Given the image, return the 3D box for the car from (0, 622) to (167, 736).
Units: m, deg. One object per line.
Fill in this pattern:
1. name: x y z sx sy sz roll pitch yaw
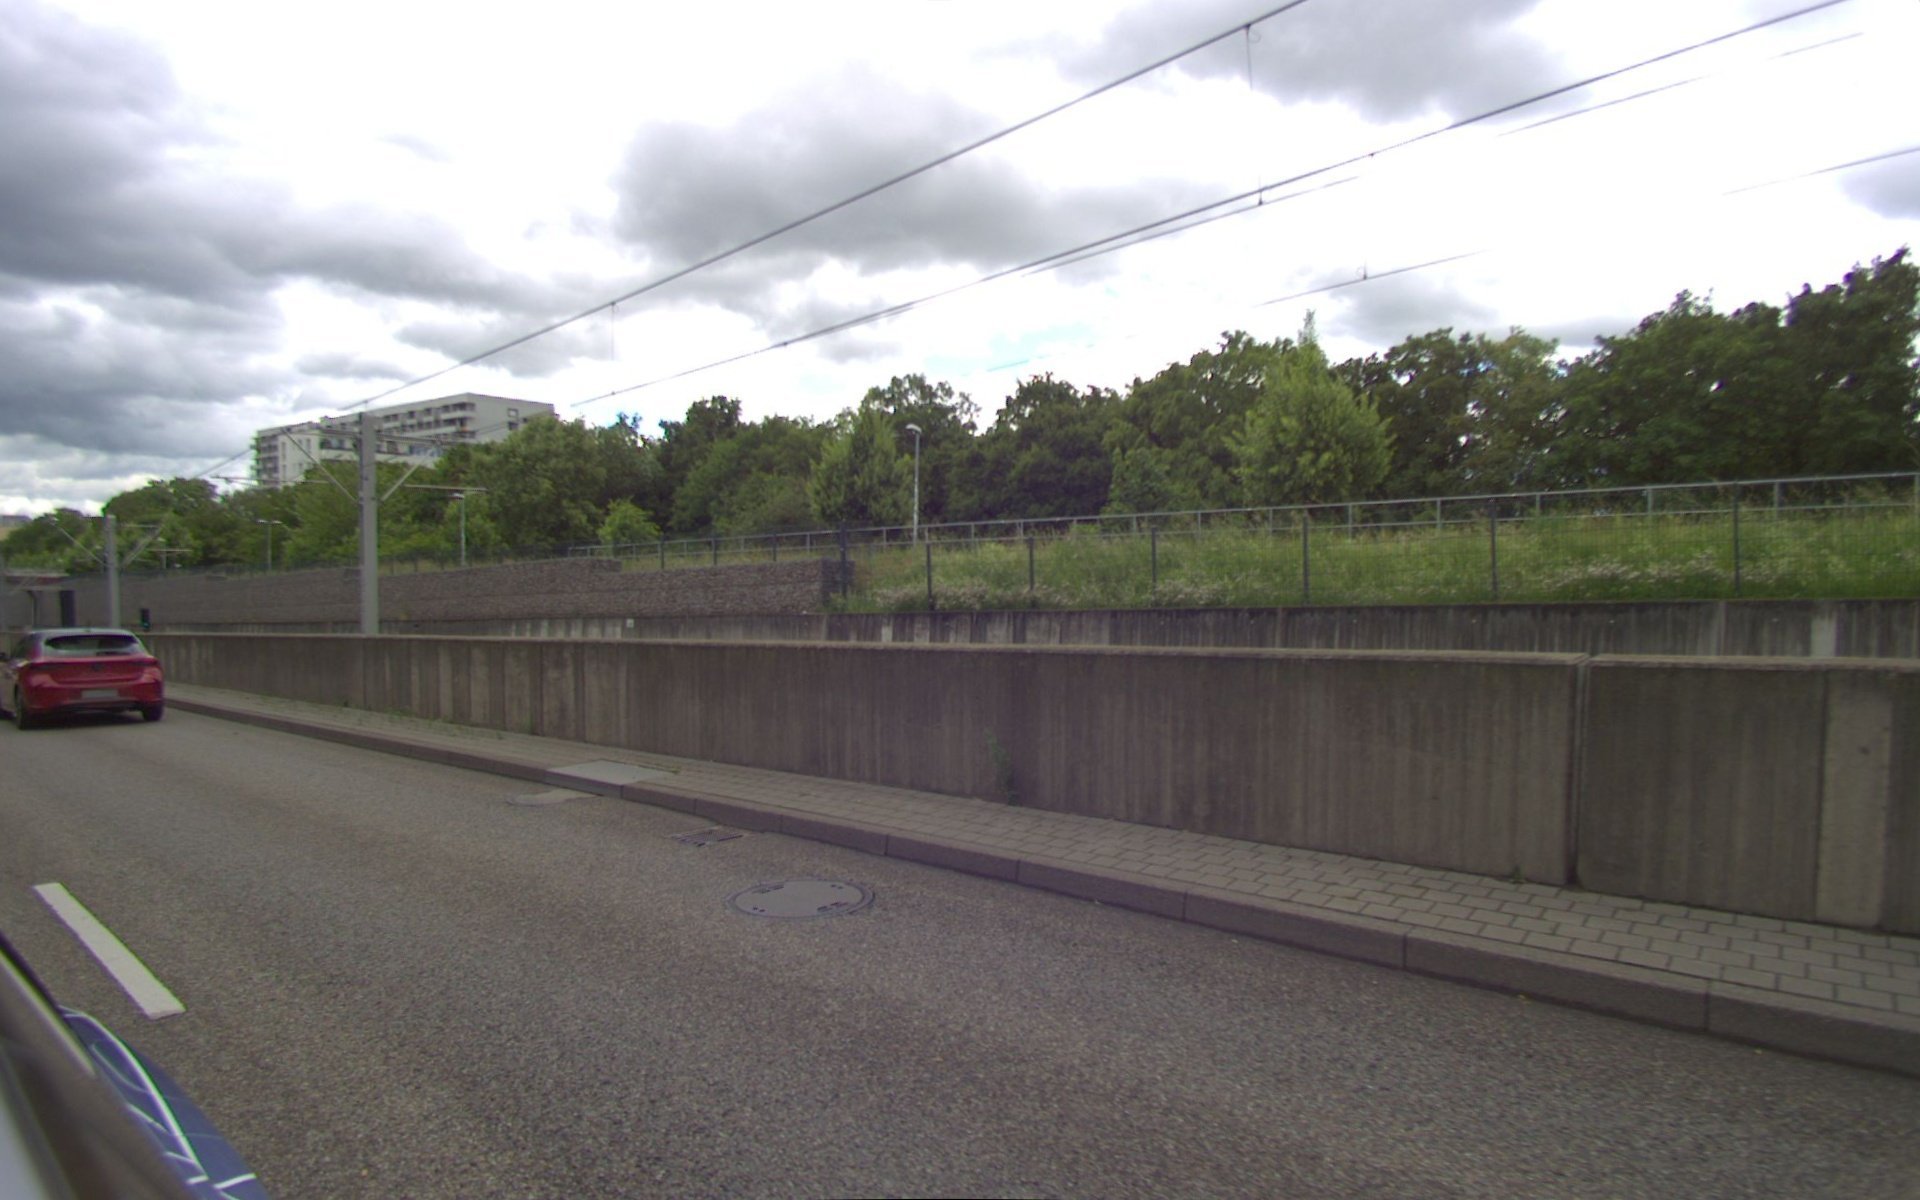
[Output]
1. car: -13.996 1.150 15.917 3.950 1.557 1.646 -2 -2 40
